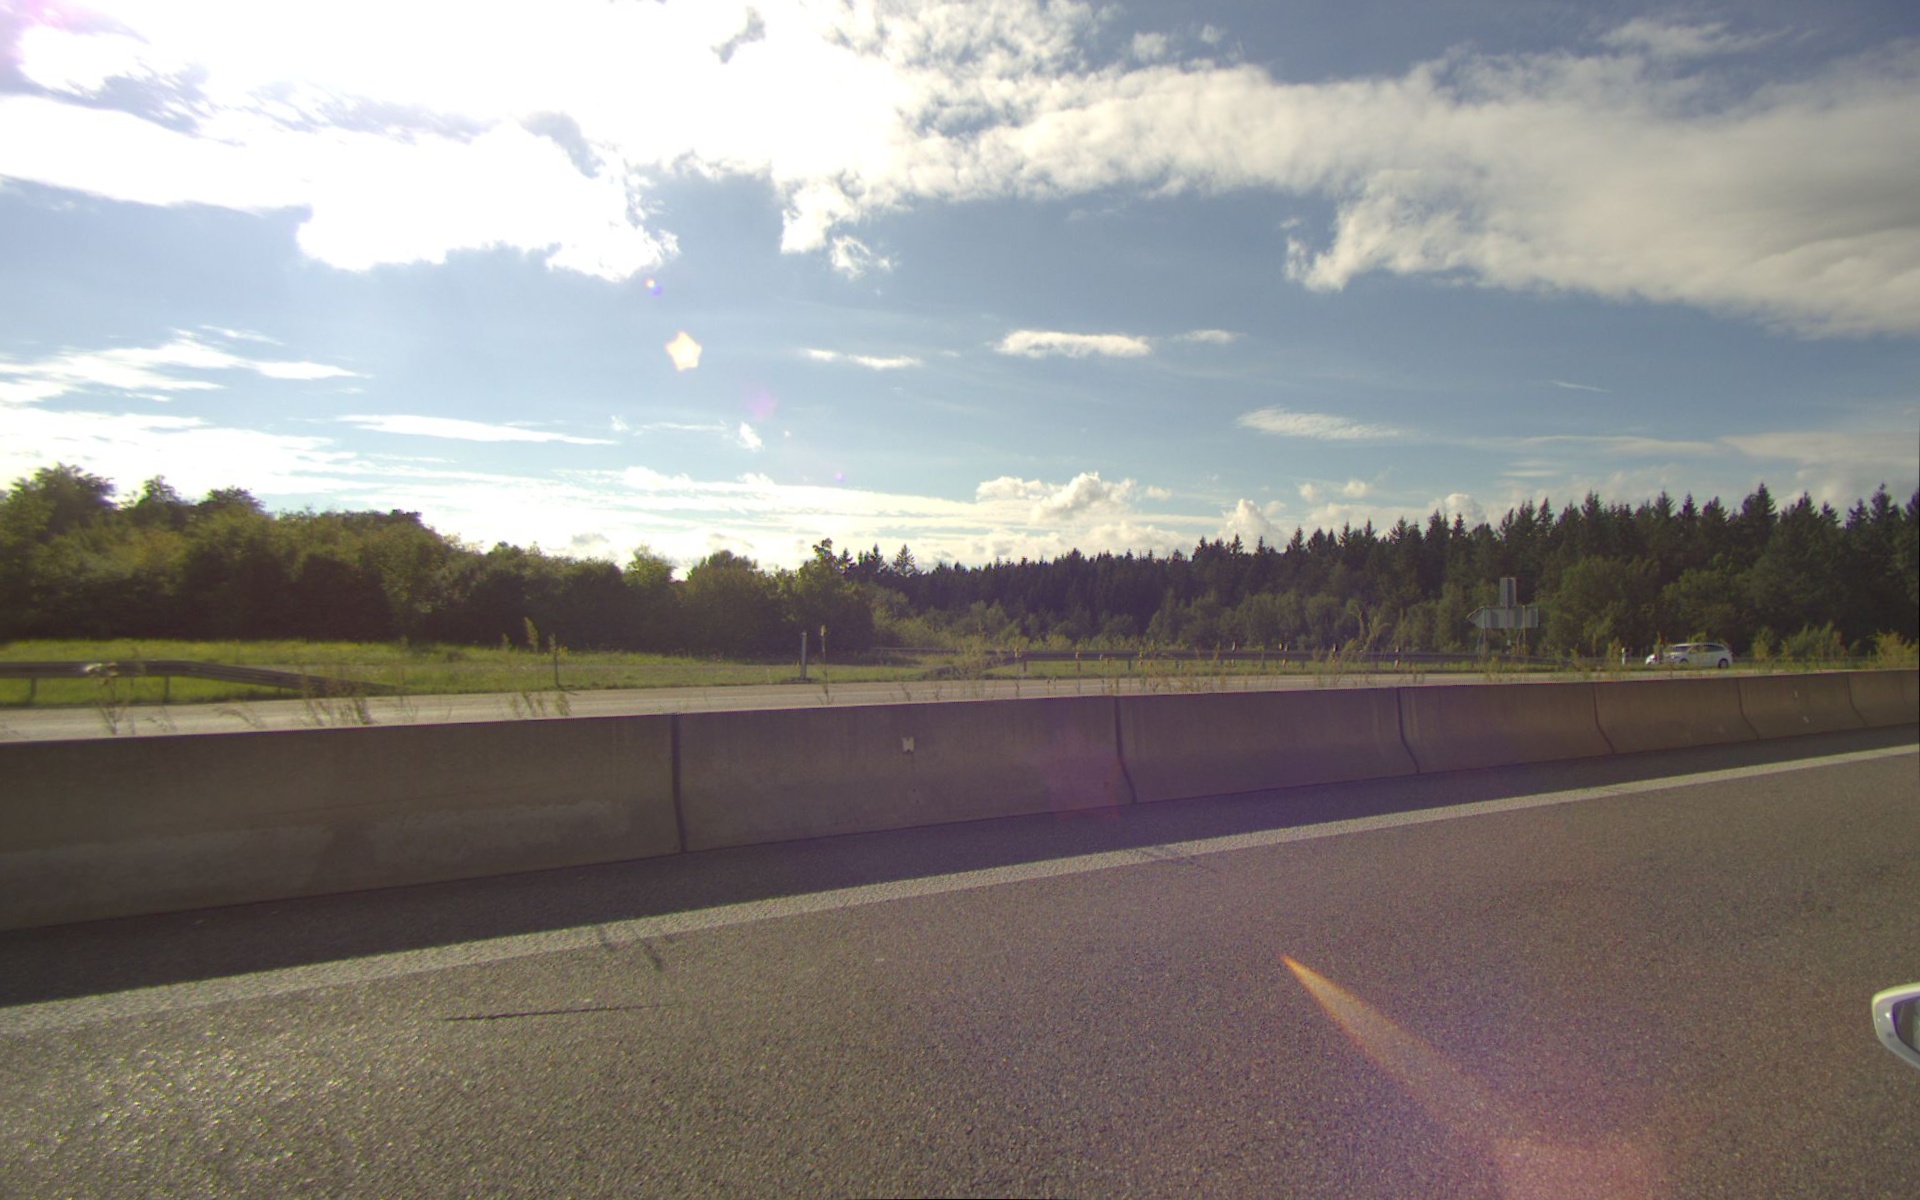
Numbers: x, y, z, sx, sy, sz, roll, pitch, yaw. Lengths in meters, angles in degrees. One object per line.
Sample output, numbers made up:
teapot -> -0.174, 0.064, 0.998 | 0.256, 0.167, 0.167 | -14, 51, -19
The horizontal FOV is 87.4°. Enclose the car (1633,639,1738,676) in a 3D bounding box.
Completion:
car -> 39.474, 3.126, 54.665 | 4.894, 1.824, 1.994 | 2, 0, -15
